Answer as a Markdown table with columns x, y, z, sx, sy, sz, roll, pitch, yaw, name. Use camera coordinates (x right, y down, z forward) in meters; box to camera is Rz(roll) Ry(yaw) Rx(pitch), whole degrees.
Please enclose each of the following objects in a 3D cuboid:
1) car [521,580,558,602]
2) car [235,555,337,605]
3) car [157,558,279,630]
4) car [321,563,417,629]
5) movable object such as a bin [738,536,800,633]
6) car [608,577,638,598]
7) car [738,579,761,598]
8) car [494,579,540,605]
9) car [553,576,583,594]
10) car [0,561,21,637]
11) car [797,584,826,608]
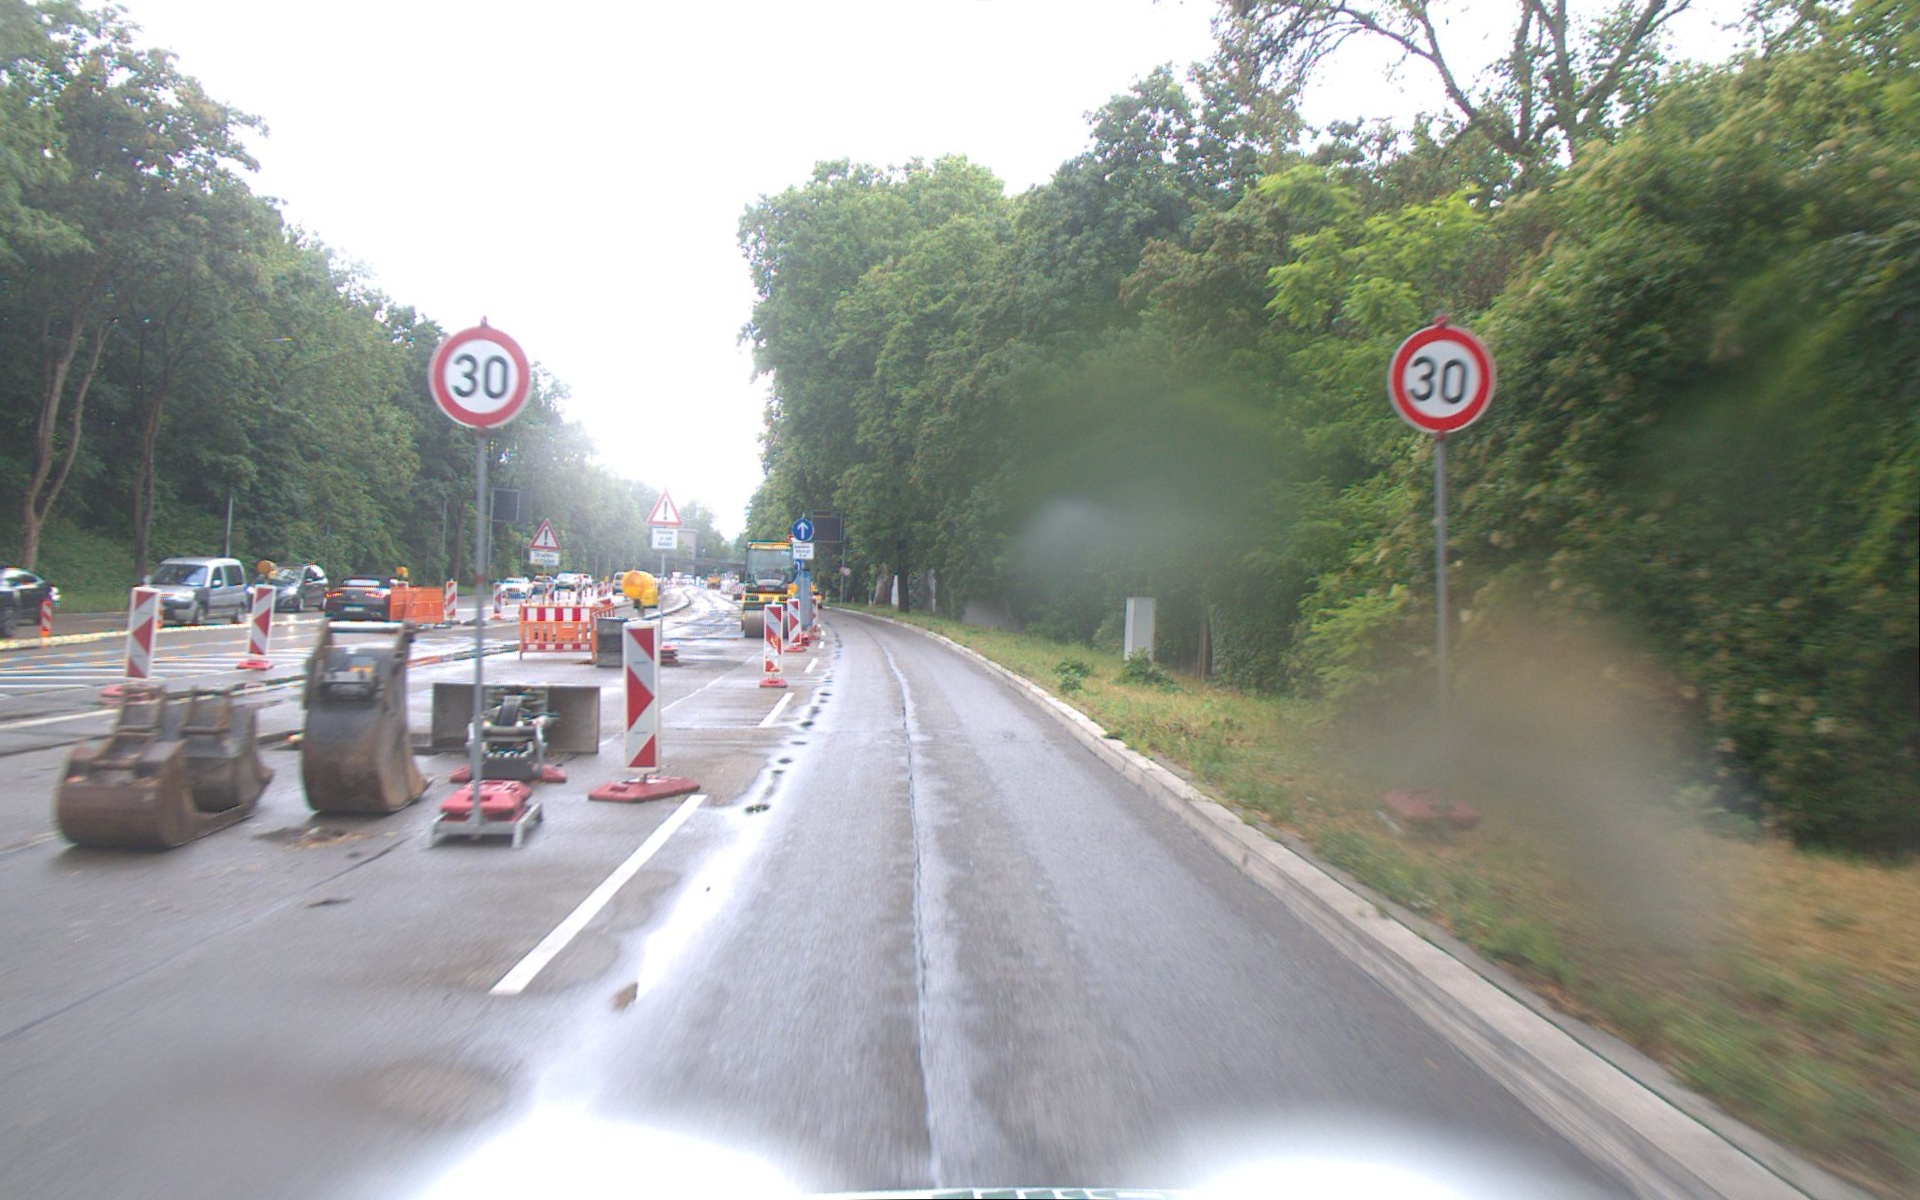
| x | y | z | sx | sy | sz | roll | pitch | yaw | name |
| --- | --- | --- | --- | --- | --- | --- | --- | --- | --- |
| -33.536 | -0.714 | 132.122 | 1.889 | 1.694 | 4.650 | 1 | 0 | -2 | car |
| -24.131 | -0.694 | 59.419 | 1.889 | 1.694 | 4.650 | 1 | 0 | -2 | car |
| -18.733 | -0.165 | 41.939 | 1.399 | 1.725 | 4.127 | 1 | 0 | -3 | car |
| -16.293 | -0.147 | 45.753 | 1.829 | 1.517 | 3.991 | 3 | 3 | -11 | car |
| -6.035 | -0.485 | 52.555 | 1.712 | 2.917 | 3.532 | 1 | 0 | -4 | movable object such as a bin |
| -30.860 | -1.156 | 151.585 | 1.889 | 1.809 | 4.650 | 1 | 0 | -2 | car |
| -20.724 | -1.159 | 162.844 | 1.838 | 1.645 | 3.999 | 5 | 1 | -2 | car |
| -29.378 | -0.541 | 109.780 | 1.889 | 1.694 | 4.650 | 1 | 0 | -2 | car |
| -37.934 | -1.438 | 160.134 | 1.889 | 1.694 | 4.650 | 1 | 0 | -2 | car |
| -18.744 | -0.020 | 30.103 | 1.399 | 1.431 | 3.821 | 1 | 0 | -5 | car |
| -11.347 | -0.326 | 126.564 | 1.876 | 1.625 | 4.832 | 2 | 1 | -2 | car |
